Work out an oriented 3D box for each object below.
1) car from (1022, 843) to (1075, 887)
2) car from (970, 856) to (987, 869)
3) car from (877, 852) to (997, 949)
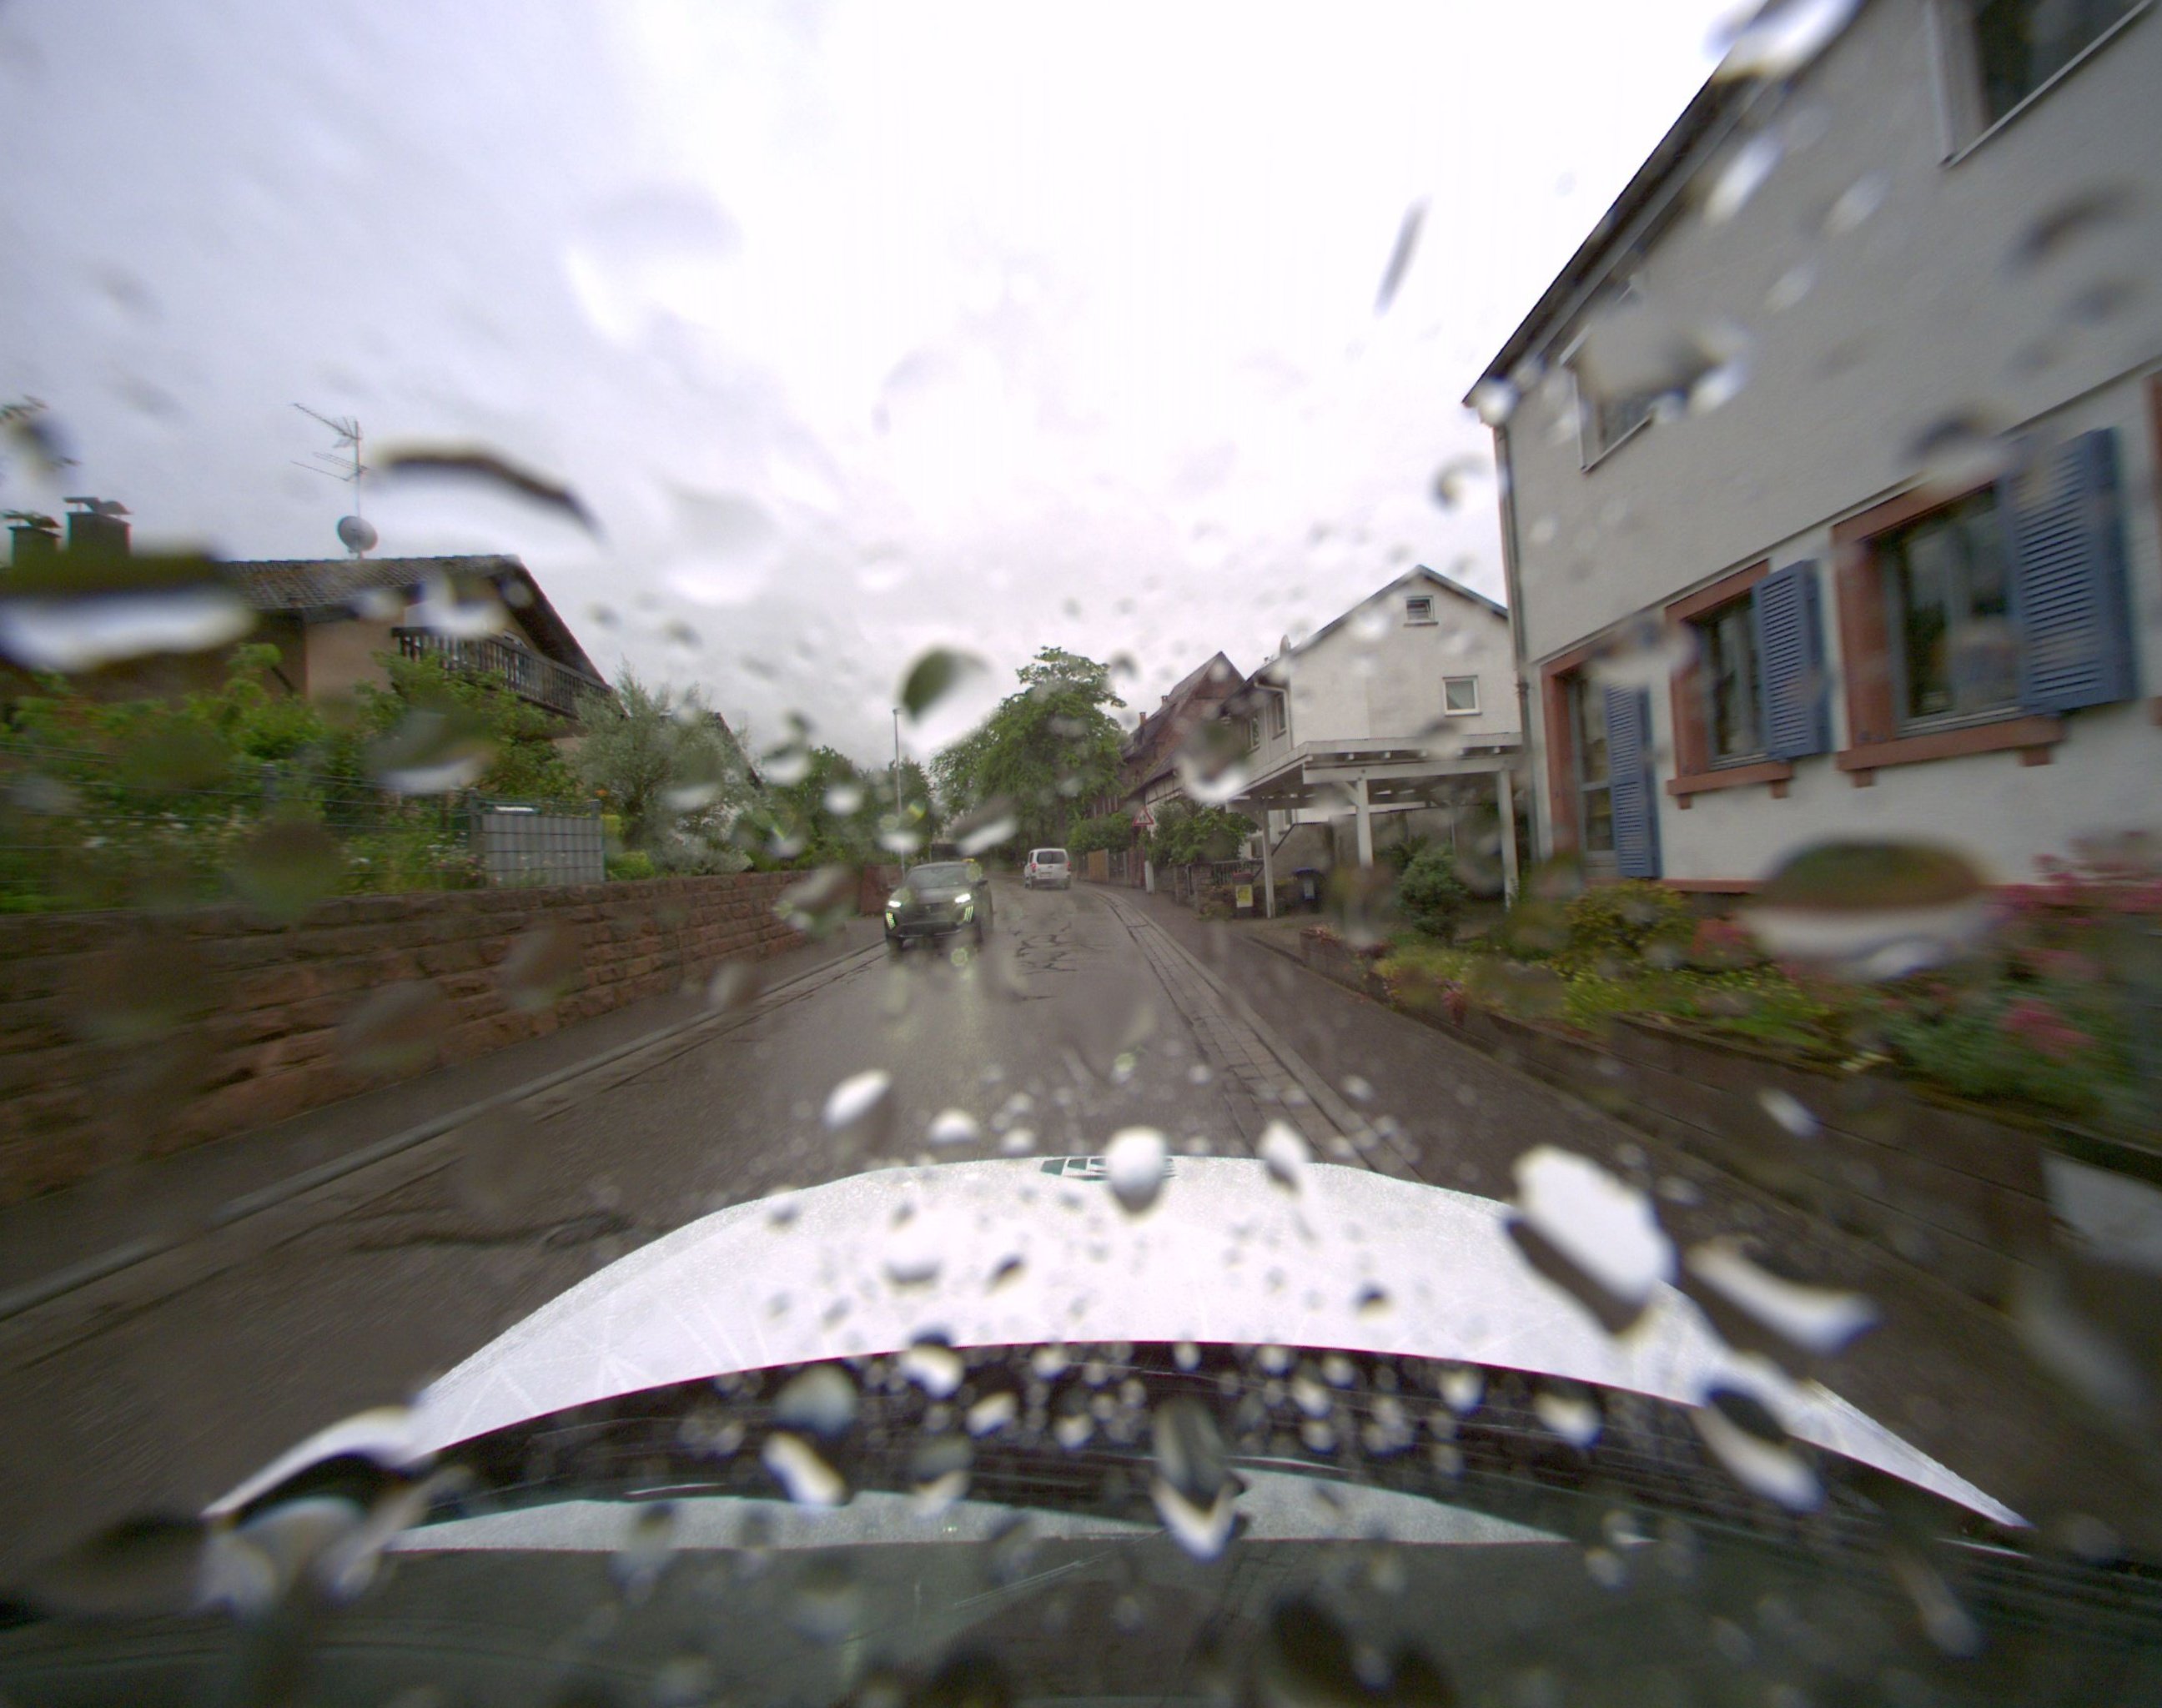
[{"bbox_3d":[-1.559,0.491,37.434,1.896,1.807,3.988,-3,0,-9],"label":"car"},{"bbox_3d":[-11.338,0.968,89.606,1.708,1.377,3.987,-1,-1,-9],"label":"car"},{"bbox_3d":[-2.718,0.815,16.222,1.696,1.546,3.847,-5,0,-2],"label":"car"}]
